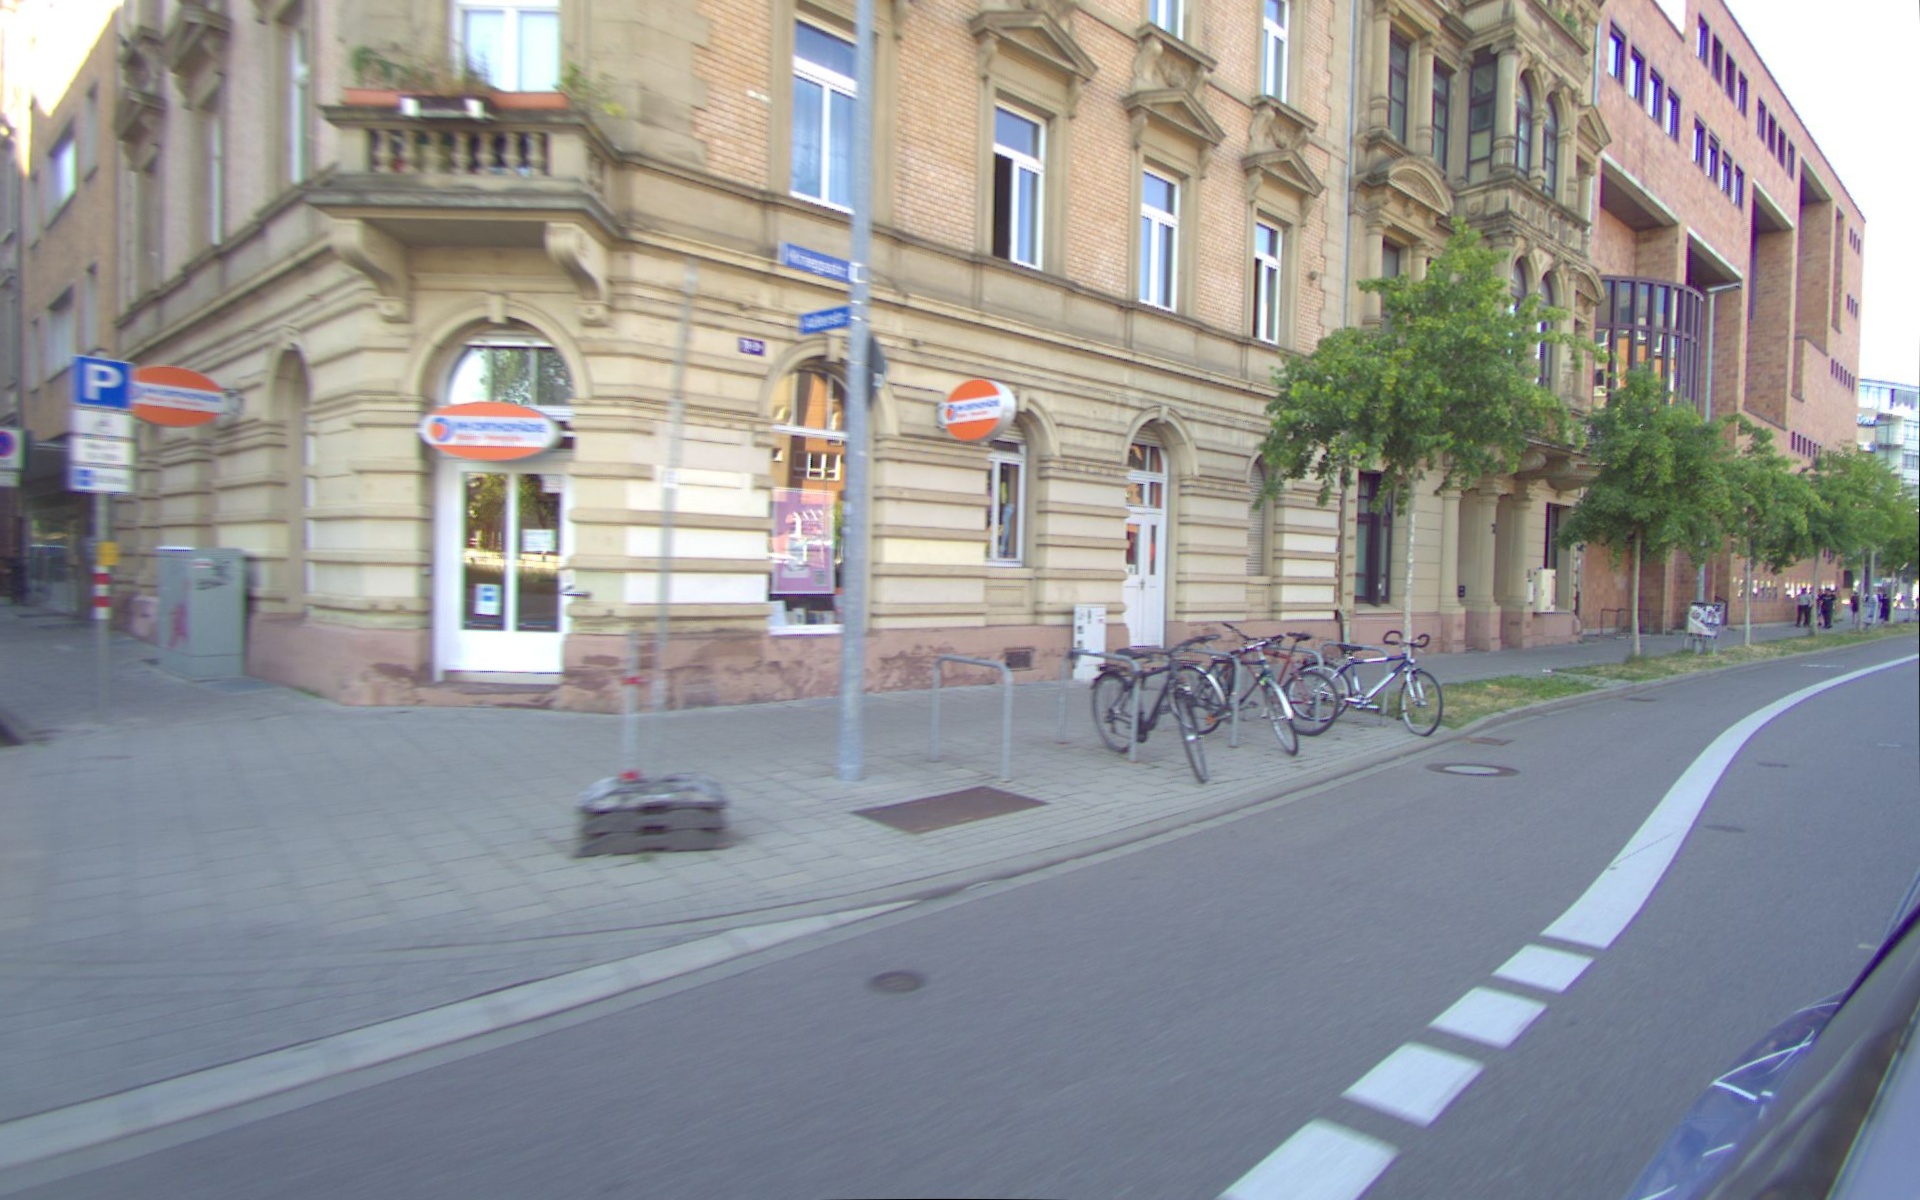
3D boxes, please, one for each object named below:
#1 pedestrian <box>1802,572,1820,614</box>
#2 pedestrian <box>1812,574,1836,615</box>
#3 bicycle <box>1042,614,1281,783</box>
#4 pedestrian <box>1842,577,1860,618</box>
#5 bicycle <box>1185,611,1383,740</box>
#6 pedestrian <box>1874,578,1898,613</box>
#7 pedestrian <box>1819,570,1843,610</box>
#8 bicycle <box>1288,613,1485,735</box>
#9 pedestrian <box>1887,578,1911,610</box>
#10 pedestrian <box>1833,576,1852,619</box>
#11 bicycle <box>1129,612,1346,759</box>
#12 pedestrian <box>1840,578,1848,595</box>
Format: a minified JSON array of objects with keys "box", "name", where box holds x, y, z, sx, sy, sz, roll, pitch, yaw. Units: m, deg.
[{"box":[36.319,-0.317,43.192,0.535,1.778,0.416,2,2,39],"name":"pedestrian"},{"box":[37.619,-0.253,44.070,0.682,1.778,0.539,0,2,-31],"name":"pedestrian"},{"box":[1.618,0.743,8.388,1.827,1.077,0.653,7,4,45],"name":"bicycle"},{"box":[38.874,-0.106,44.148,0.536,1.778,0.685,2,2,43],"name":"pedestrian"},{"box":[3.374,0.739,10.664,1.827,1.077,0.653,7,4,45],"name":"bicycle"},{"box":[47.516,-0.245,51.927,0.562,1.734,0.641,1,2,4],"name":"pedestrian"},{"box":[39.178,-0.448,45.516,0.733,1.778,0.684,2,2,44],"name":"pedestrian"},{"box":[4.680,0.769,11.204,1.827,1.077,0.653,7,4,45],"name":"bicycle"},{"box":[48.220,-0.301,51.958,0.508,1.625,0.705,1,2,1],"name":"pedestrian"},{"box":[37.259,-0.111,42.746,0.536,1.778,0.458,2,2,41],"name":"pedestrian"},{"box":[2.563,0.744,9.514,1.827,1.077,0.653,7,4,45],"name":"bicycle"},{"box":[95.547,-1.469,109.405,0.543,1.846,0.369,2,2,36],"name":"pedestrian"}]
